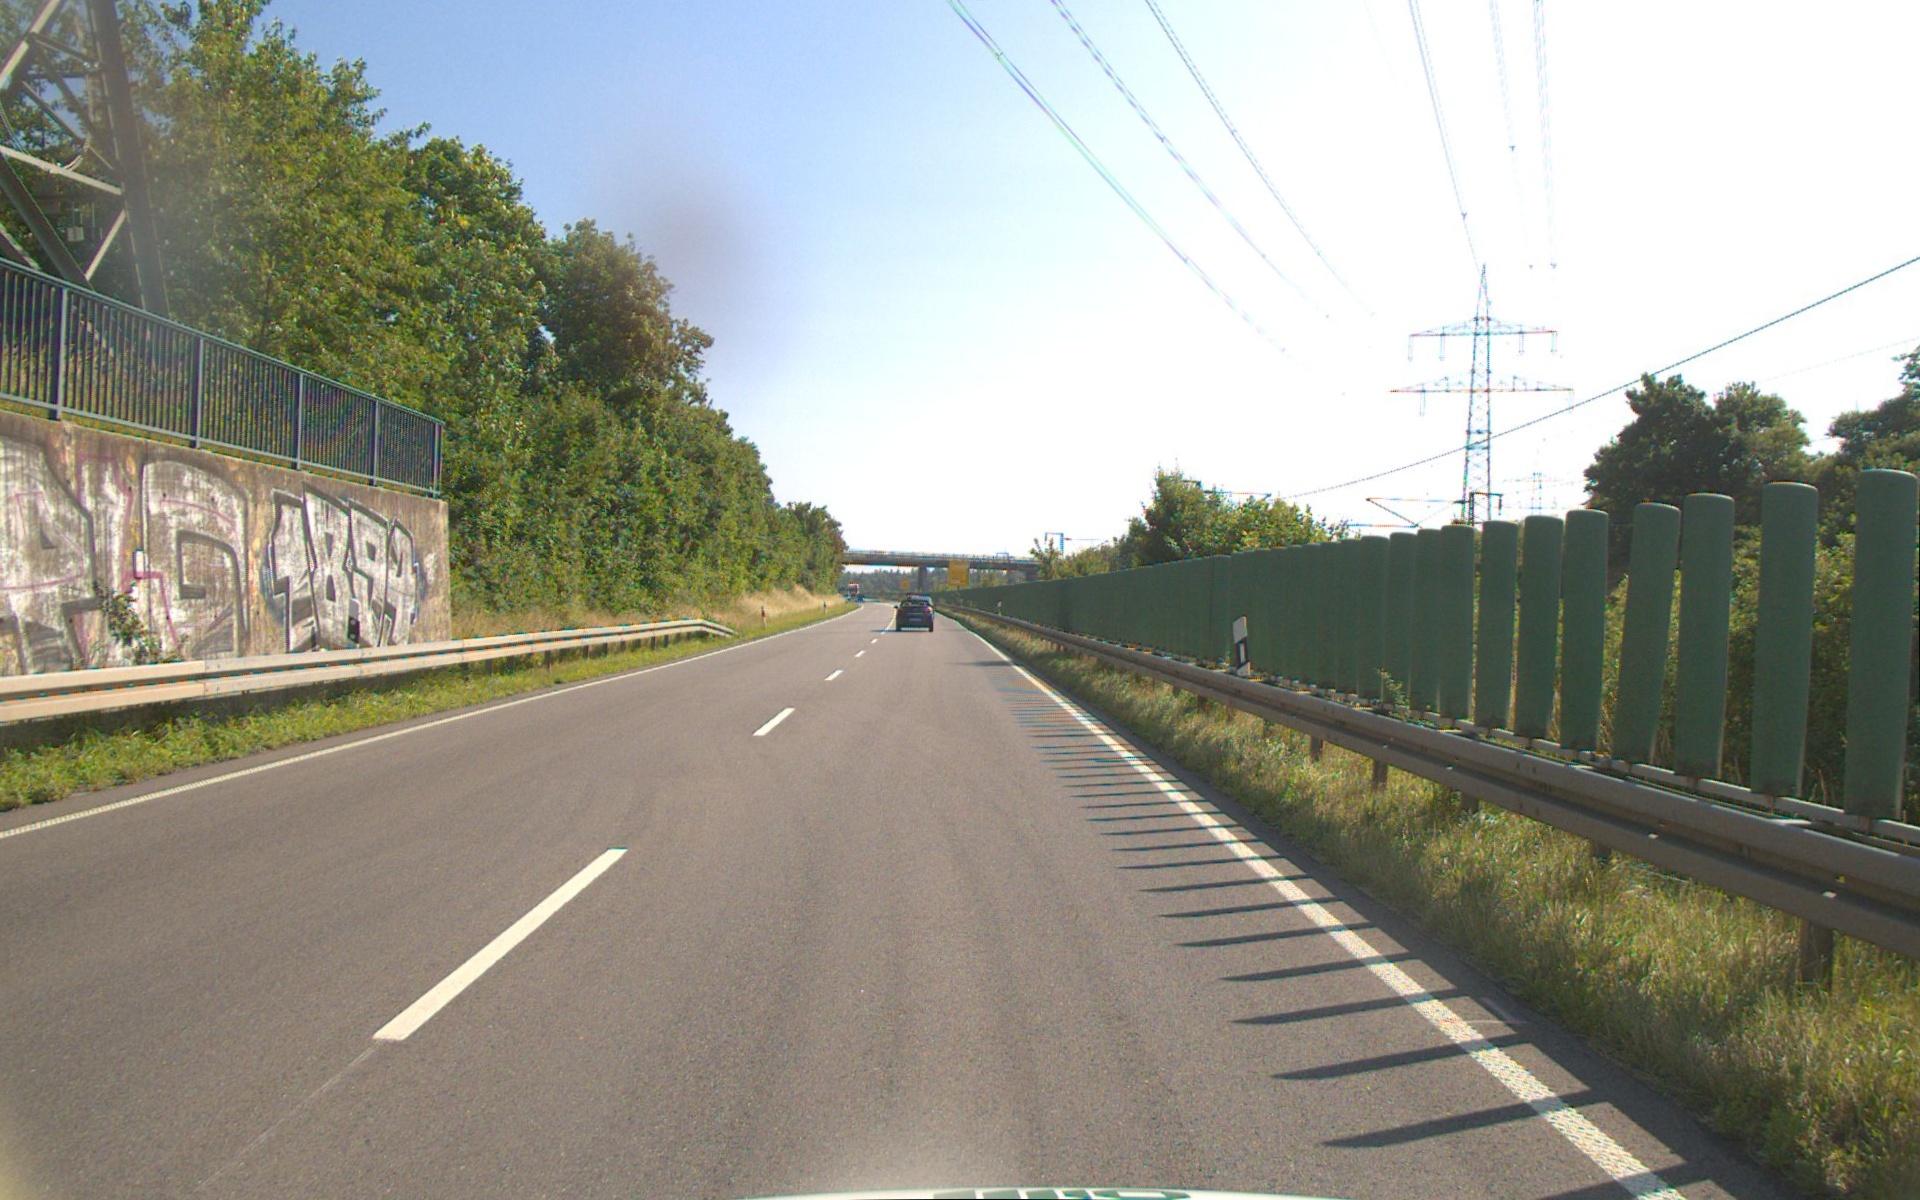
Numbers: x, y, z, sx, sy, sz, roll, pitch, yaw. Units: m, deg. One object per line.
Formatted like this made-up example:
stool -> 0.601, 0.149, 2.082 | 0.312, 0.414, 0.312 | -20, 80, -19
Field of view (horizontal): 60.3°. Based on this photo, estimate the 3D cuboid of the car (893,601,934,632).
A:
car -> -2.021, 0.713, 71.613 | 1.630, 1.283, 3.997 | 1, 0, -3
